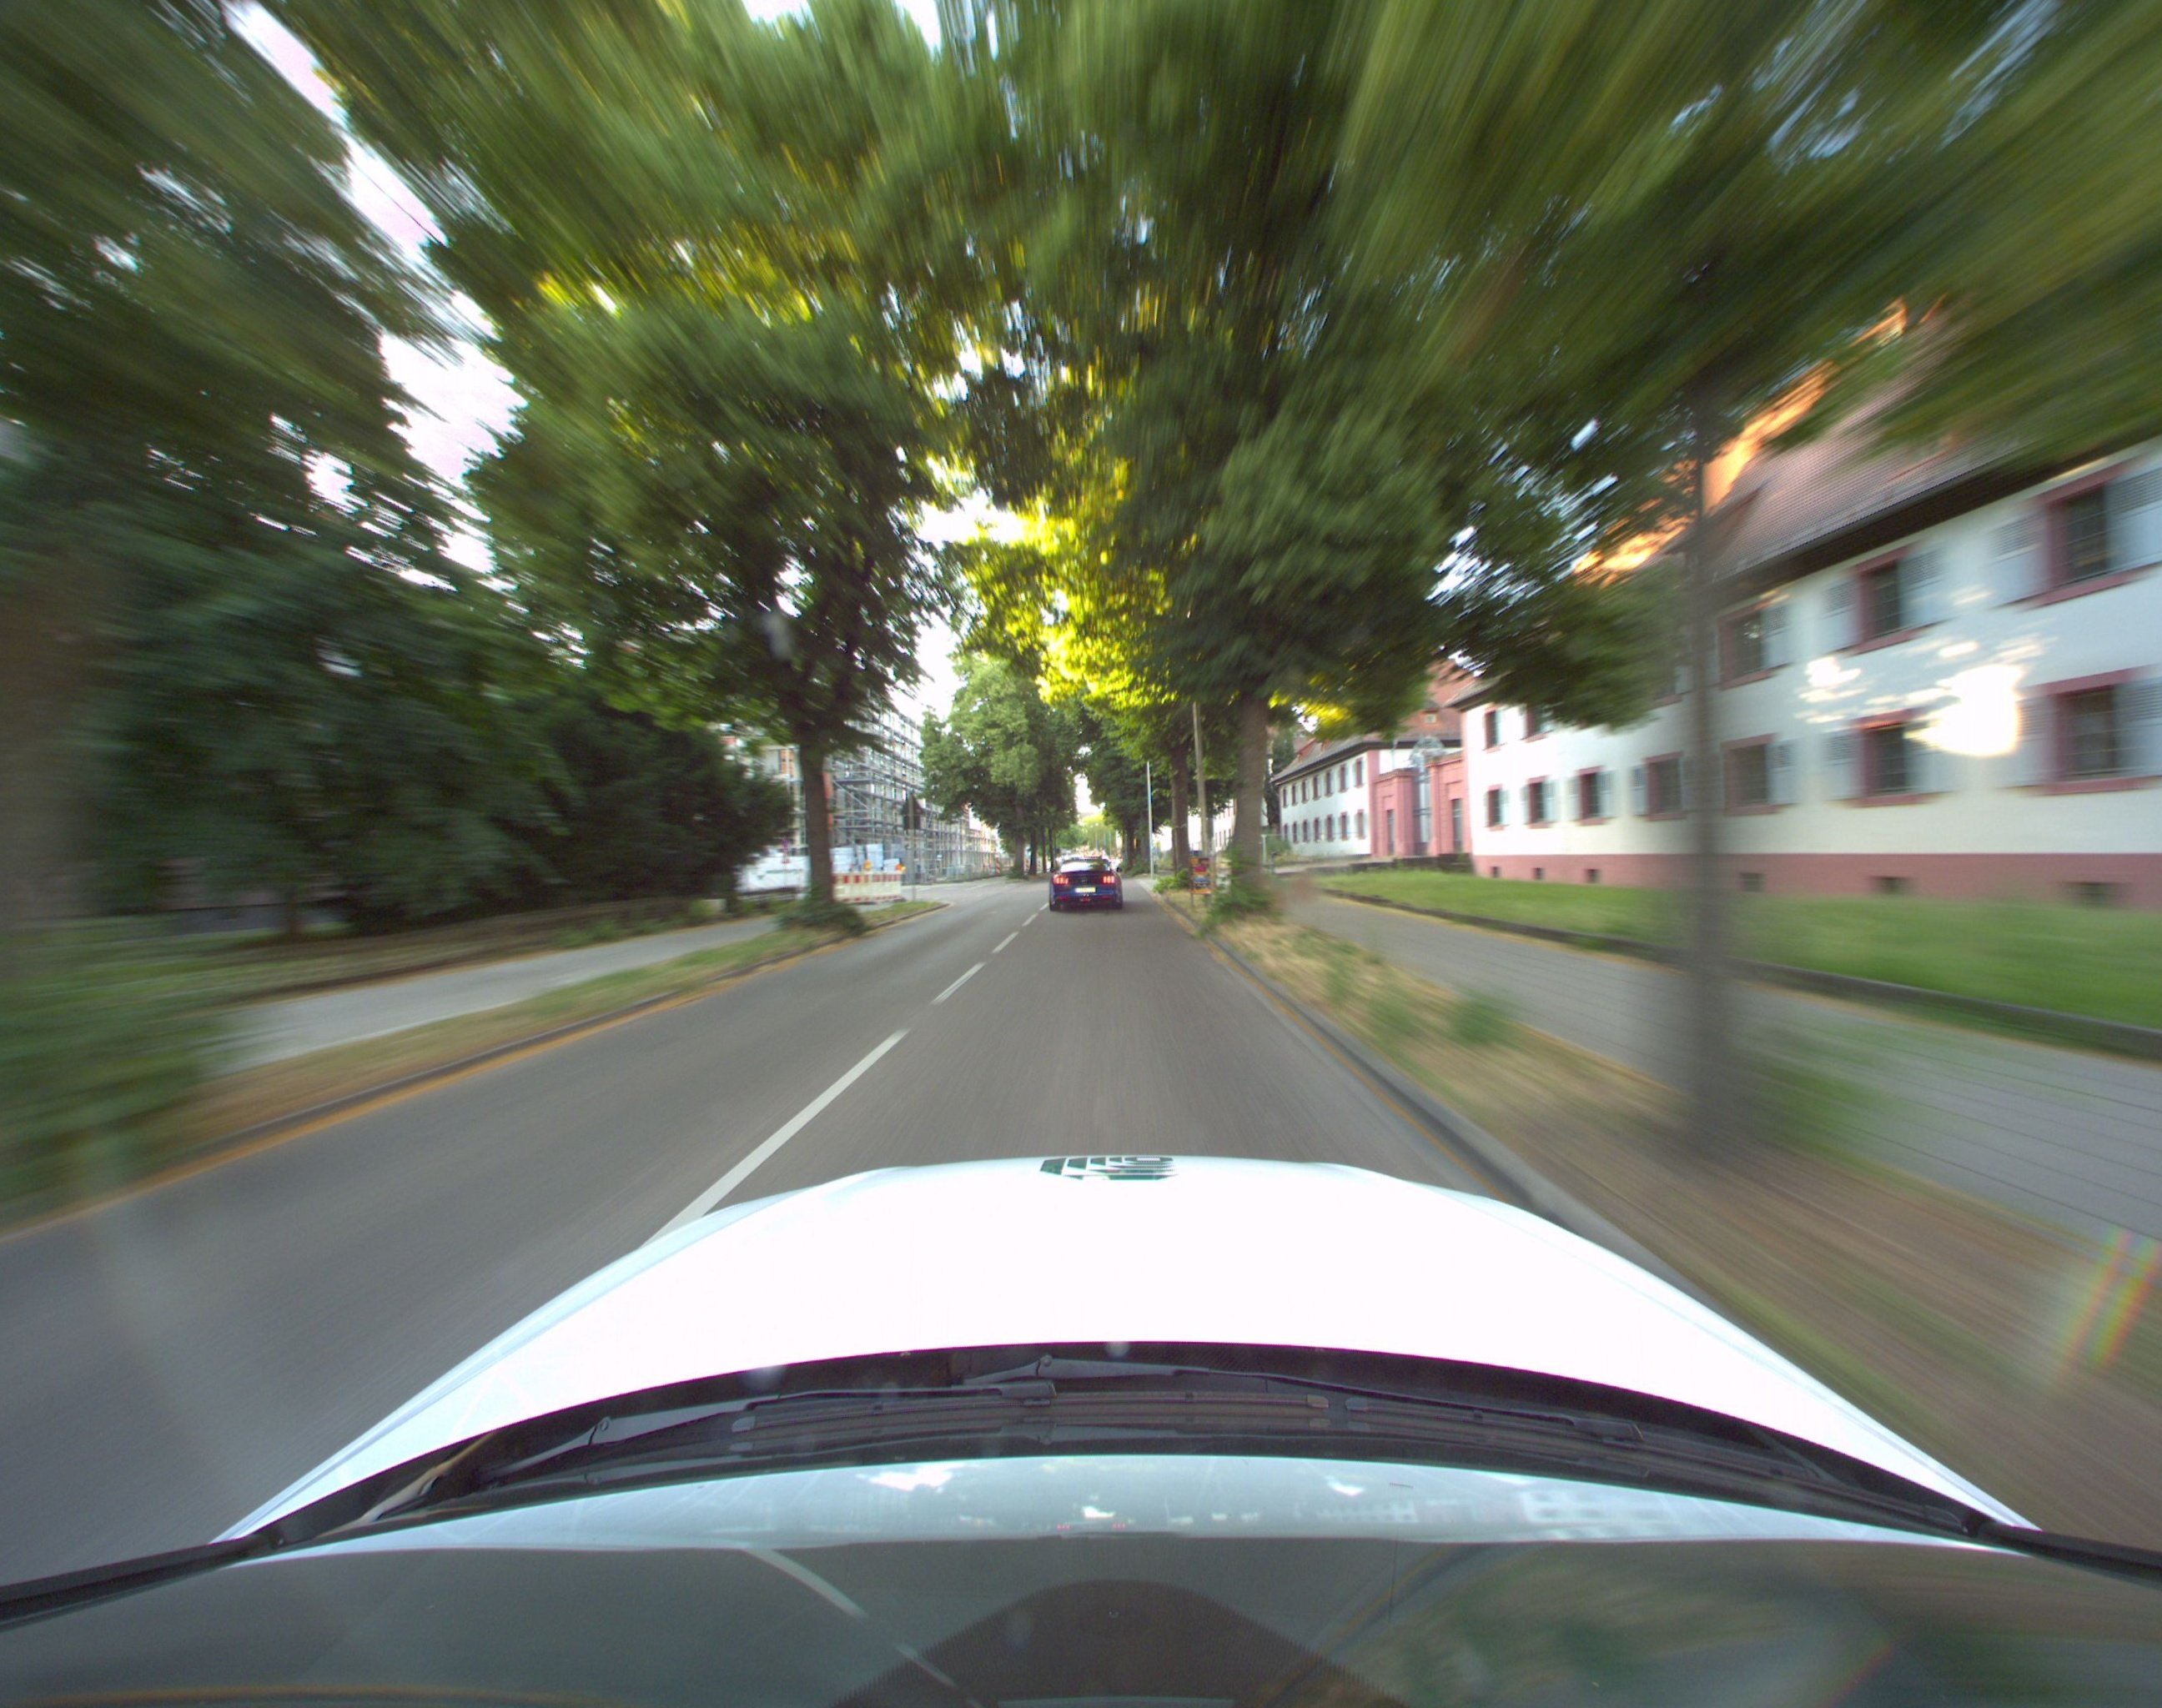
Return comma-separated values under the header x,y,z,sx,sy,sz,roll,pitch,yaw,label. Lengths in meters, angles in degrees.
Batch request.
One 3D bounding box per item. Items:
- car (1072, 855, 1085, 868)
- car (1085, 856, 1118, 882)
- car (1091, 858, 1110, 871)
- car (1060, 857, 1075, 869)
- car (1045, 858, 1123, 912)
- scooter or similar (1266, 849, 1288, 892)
x,y,z,sx,sy,sz,roll,pitch,yaw,label
-0.507,1.524,169.497,2.483,2.697,5.831,-2,0,1,car
1.326,0.922,51.462,1.938,1.527,4.004,0,0,3,car
2.173,1.137,88.882,1.938,1.326,4.004,0,0,3,car
-2.596,1.665,157.716,2.326,2.198,5.313,-2,0,3,car
0.130,0.783,22.360,1.940,1.326,4.001,0,0,1,car
6.047,0.501,25.168,0.238,1.276,1.265,-2,-1,-3,scooter or similar
